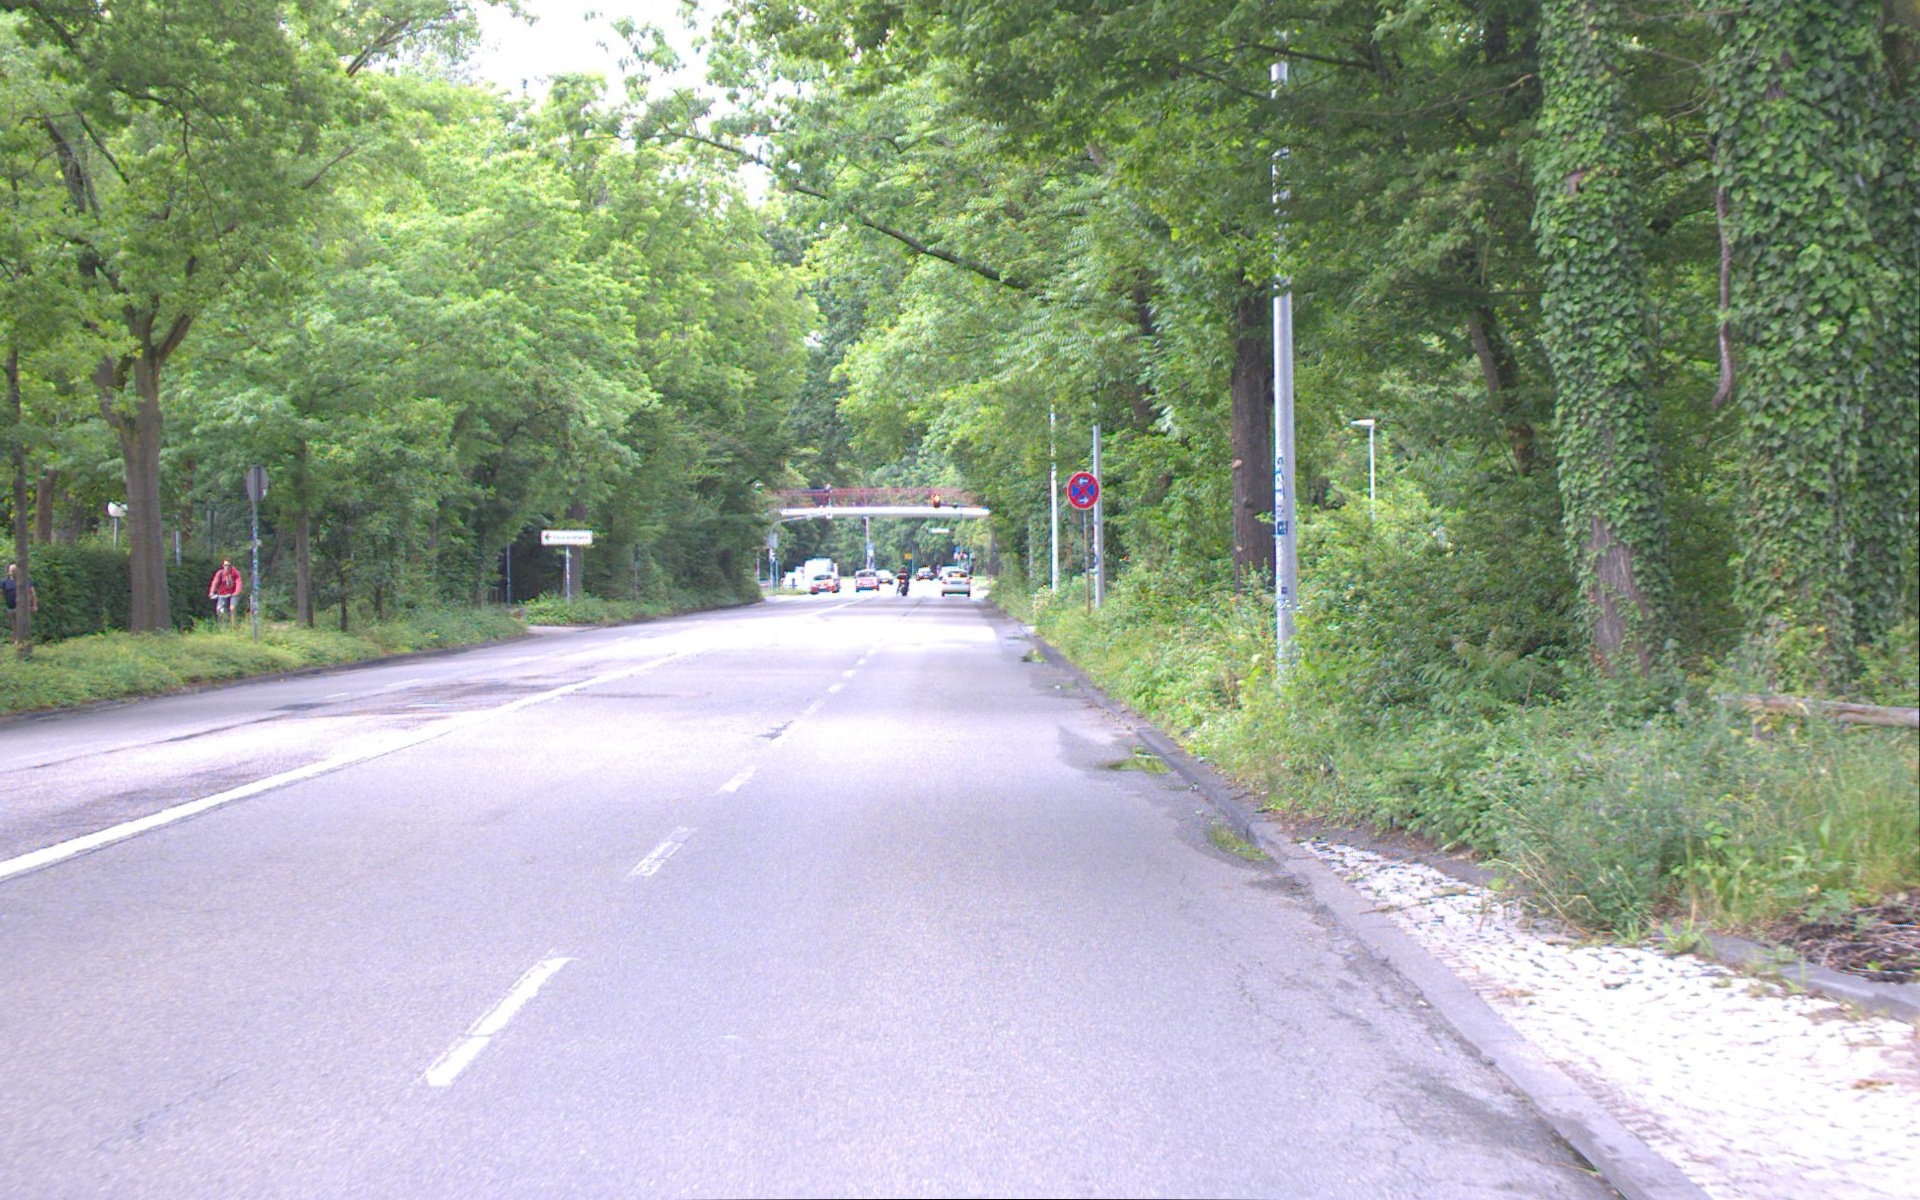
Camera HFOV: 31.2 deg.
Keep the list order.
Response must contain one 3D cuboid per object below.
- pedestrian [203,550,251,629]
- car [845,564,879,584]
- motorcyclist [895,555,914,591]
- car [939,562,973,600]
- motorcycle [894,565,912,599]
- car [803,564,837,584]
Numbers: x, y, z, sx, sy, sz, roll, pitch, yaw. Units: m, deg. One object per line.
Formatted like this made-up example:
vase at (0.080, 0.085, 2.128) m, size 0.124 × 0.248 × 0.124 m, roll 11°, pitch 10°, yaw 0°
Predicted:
pedestrian at (-15.119, -0.229, 70.893) m, size 0.792 × 1.608 × 0.848 m, roll 1°, pitch 1°, yaw 0°
car at (-6.781, -1.785, 238.021) m, size 1.675 × 1.357 × 3.920 m, roll 1°, pitch 1°, yaw 8°
motorcyclist at (-3.136, -1.519, 194.336) m, size 1.063 × 2.007 × 0.842 m, roll 1°, pitch 1°, yaw 0°
car at (-0.207, -1.065, 190.611) m, size 1.843 × 2.007 × 4.000 m, roll 1°, pitch 1°, yaw 0°
motorcycle at (-3.217, -1.016, 194.407) m, size 0.990 × 1.929 × 2.669 m, roll 1°, pitch 1°, yaw 0°
car at (-9.646, -1.808, 237.765) m, size 1.994 × 1.349 × 3.894 m, roll 1°, pitch 1°, yaw 3°
